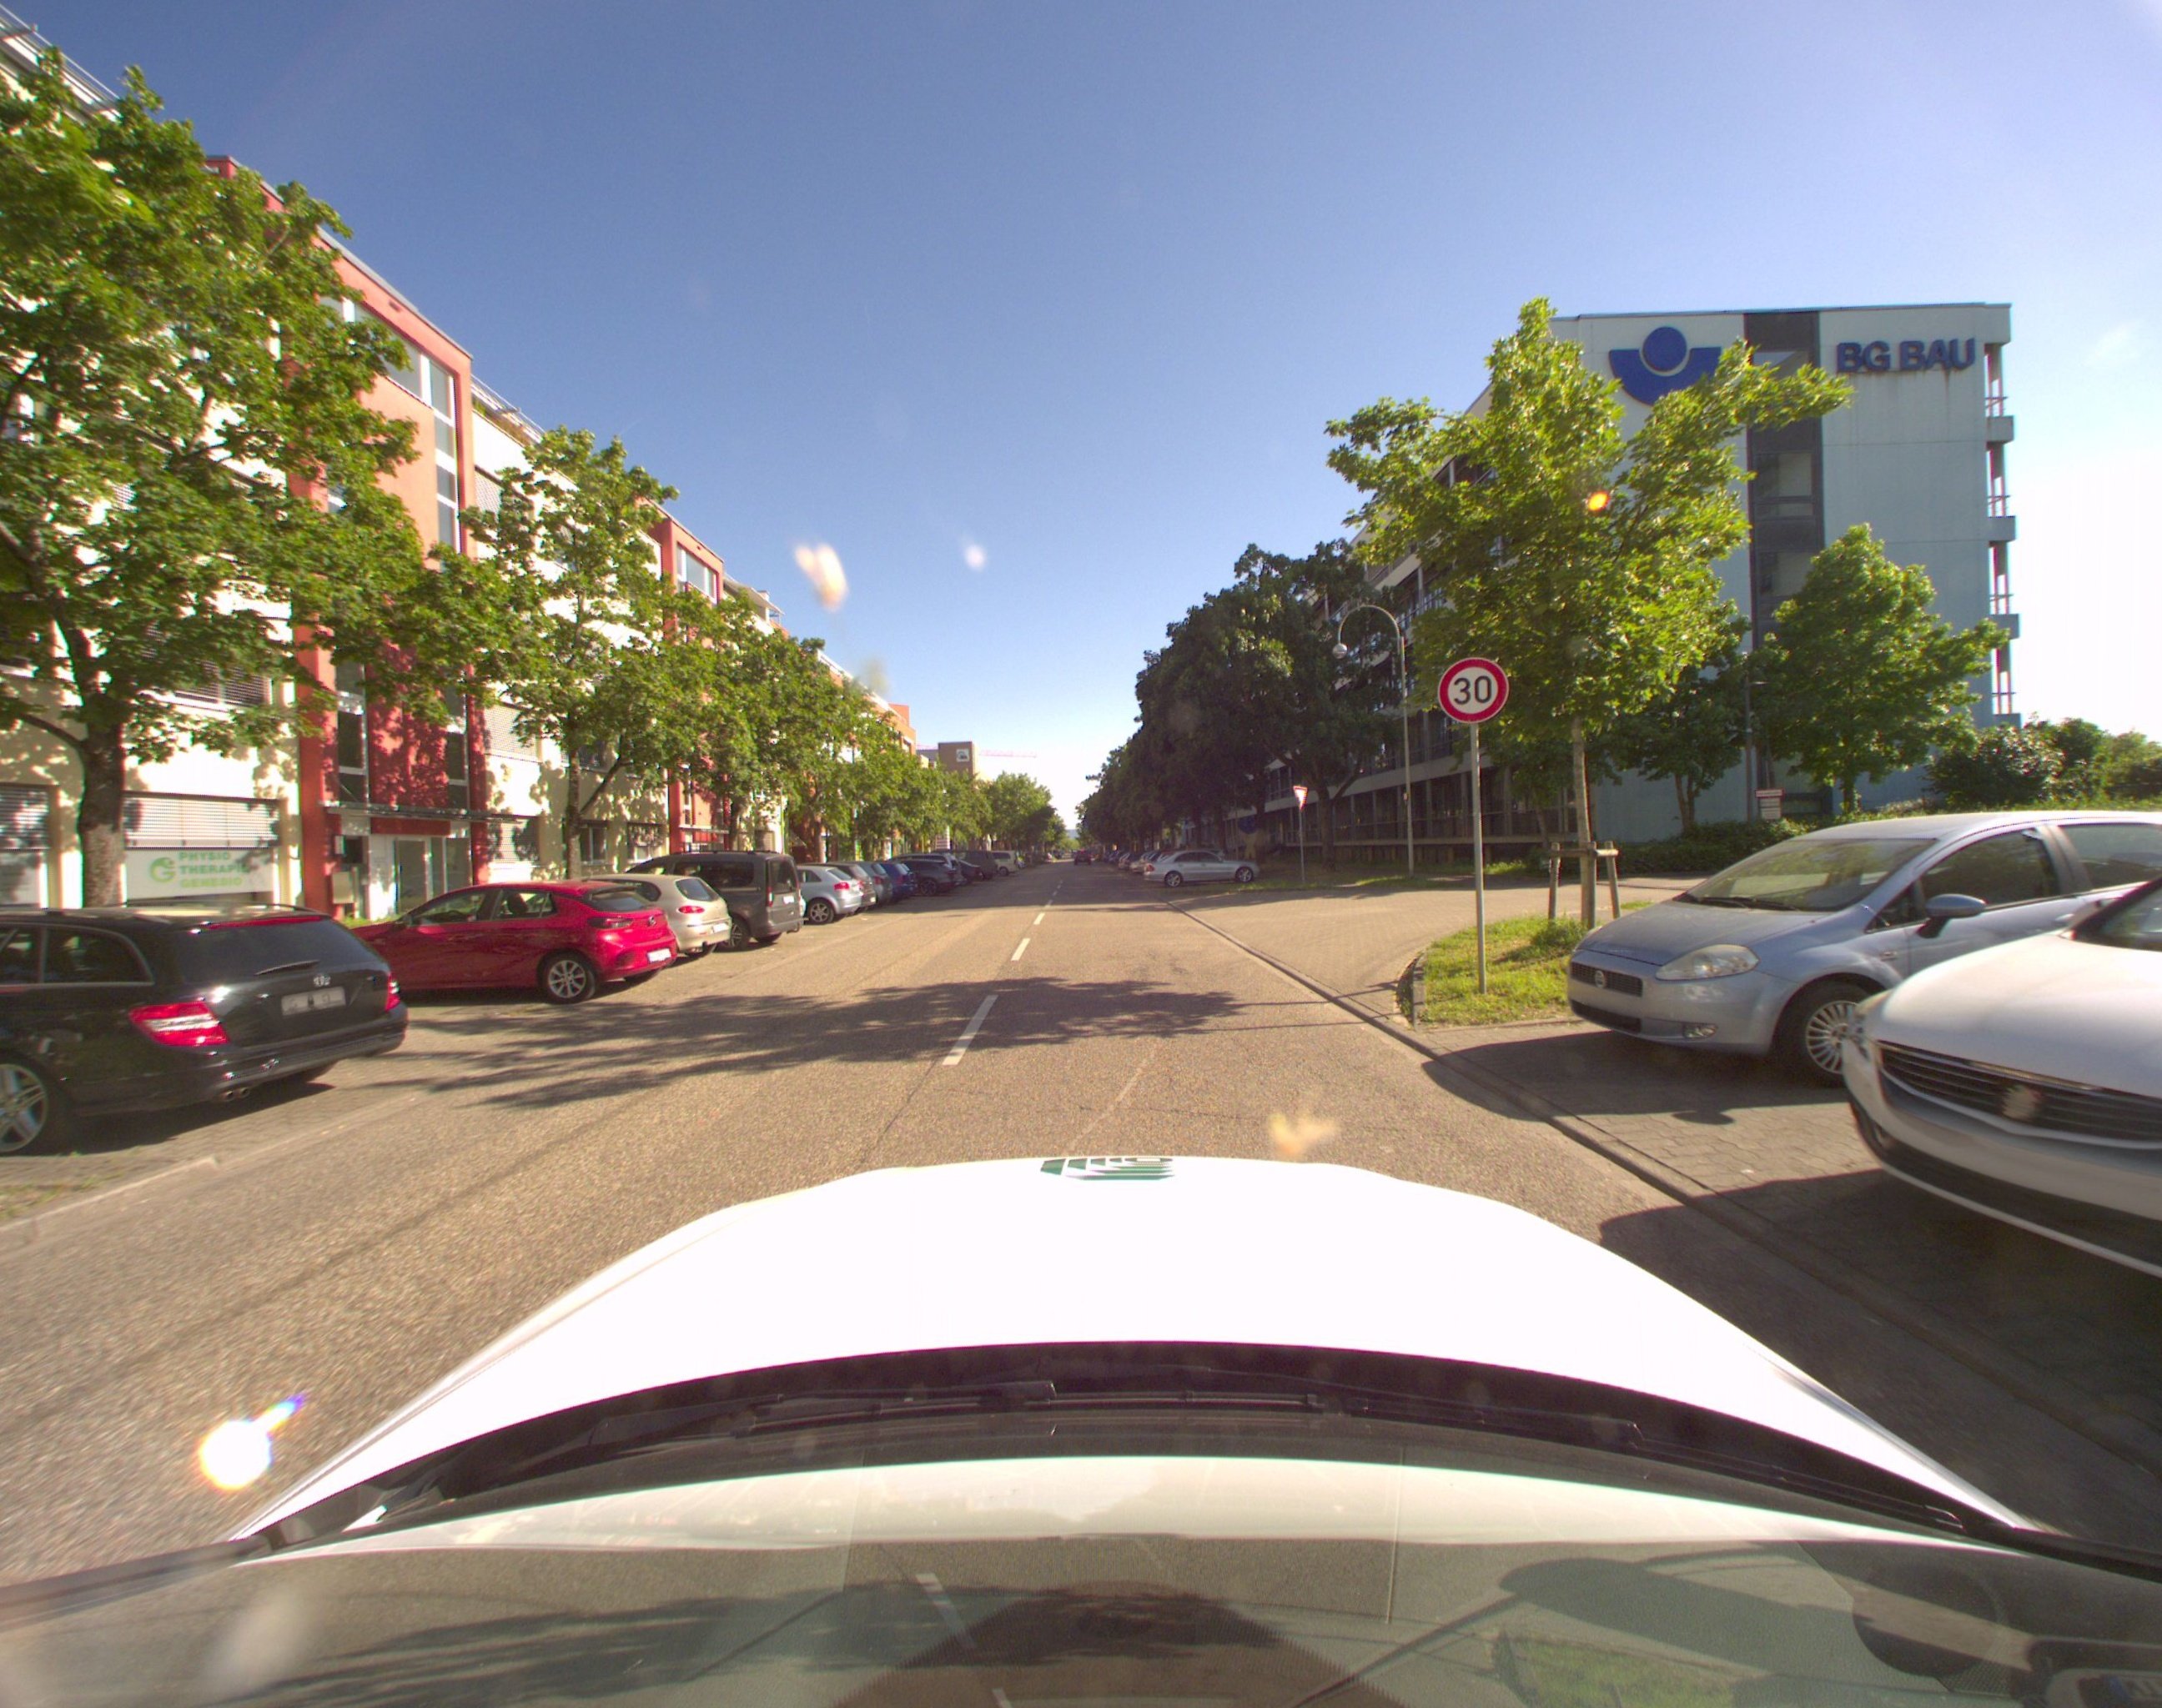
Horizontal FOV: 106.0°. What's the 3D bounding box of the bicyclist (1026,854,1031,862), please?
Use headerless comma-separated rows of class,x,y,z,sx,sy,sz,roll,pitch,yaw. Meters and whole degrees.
bicyclist,-7.305,0.526,112.748,0.530,1.091,0.795,-3,0,3

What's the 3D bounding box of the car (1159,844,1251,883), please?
car,5.450,0.404,36.178,3.821,1.447,1.924,-4,0,3

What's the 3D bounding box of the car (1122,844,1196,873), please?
car,5.063,0.304,53.081,4.577,1.493,1.762,-5,0,-1

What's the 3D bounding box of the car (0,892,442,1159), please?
car,-7.172,1.033,5.591,4.244,1.423,1.741,-1,0,3

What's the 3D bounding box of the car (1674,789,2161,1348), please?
car,5.160,0.447,3.050,4.544,1.515,1.978,-5,-1,-6

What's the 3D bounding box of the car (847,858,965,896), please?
car,-7.028,0.924,32.990,4.391,1.427,1.771,-1,0,-3

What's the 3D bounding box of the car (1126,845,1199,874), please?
car,5.030,0.320,50.604,4.273,1.493,2.003,-4,0,-2

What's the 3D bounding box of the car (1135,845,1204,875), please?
car,5.208,0.352,48.198,3.736,1.493,1.614,-4,0,-5

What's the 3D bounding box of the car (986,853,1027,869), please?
car,-7.516,0.730,82.734,3.976,1.486,1.806,-1,0,-2

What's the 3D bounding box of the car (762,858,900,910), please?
car,-7.742,0.903,25.475,3.715,1.508,1.859,-1,0,-1

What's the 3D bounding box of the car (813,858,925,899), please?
car,-7.896,0.900,30.603,3.715,1.427,1.772,-1,0,-1

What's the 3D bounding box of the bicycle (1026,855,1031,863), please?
bicycle,-7.295,0.734,112.773,0.530,1.072,1.301,-3,0,3

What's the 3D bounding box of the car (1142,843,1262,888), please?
car,4.885,0.446,33.229,4.563,1.475,1.747,-4,0,0

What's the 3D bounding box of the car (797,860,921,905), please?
car,-7.493,0.953,27.792,3.715,1.427,1.840,-1,0,-1

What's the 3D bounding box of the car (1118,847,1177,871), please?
car,4.756,0.325,58.502,3.960,1.420,1.709,-4,0,-2

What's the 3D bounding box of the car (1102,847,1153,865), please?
car,4.574,0.200,80.486,4.813,1.420,2.030,-4,0,-2

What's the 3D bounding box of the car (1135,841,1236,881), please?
car,4.867,0.301,38.404,4.496,1.542,1.924,-4,0,3

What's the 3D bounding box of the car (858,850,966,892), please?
car,-7.310,0.717,35.538,4.308,1.717,1.962,-1,0,-1

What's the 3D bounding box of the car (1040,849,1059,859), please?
car,-7.169,0.009,184.849,3.969,2.013,2.002,-3,0,3

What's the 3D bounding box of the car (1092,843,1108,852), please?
car,4.894,-1.631,207.539,3.977,2.013,1.998,-3,0,-2

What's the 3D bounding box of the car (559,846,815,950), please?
car,-7.252,0.774,15.286,3.879,1.811,1.785,-1,0,0

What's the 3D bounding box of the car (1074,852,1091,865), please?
car,0.195,0.532,99.559,1.987,1.640,3.999,-1,0,0

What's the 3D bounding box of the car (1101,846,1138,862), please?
car,4.849,-0.047,103.185,4.342,1.704,1.810,-4,0,-4

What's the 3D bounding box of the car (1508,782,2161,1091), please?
car,5.392,0.433,5.663,3.943,1.515,1.698,-5,-1,-6

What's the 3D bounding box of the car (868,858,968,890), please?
car,-7.520,0.918,37.926,4.308,1.358,1.756,-1,0,-1

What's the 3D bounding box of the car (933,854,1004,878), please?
car,-7.272,0.750,52.973,4.304,1.477,1.944,-1,0,1

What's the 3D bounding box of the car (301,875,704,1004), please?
car,-7.196,1.026,10.444,3.879,1.423,1.739,-1,0,0

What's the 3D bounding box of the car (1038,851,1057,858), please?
car,-6.747,0.107,163.381,3.844,1.473,1.809,-1,0,-7

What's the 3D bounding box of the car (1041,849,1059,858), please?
car,-7.127,-0.155,187.919,3.969,2.013,2.002,-3,0,3

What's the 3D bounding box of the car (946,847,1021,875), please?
car,-7.159,0.516,60.288,5.241,1.967,1.942,-1,0,-1

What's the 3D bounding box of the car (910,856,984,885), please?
car,-6.999,0.856,42.788,3.721,1.427,1.721,-1,0,-6

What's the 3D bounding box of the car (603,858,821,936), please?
car,-7.960,0.897,17.846,3.879,1.574,1.859,-1,0,0

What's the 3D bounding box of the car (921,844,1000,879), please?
car,-7.372,0.460,50.289,4.471,2.090,2.084,-1,0,1

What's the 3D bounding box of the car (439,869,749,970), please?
car,-7.634,0.995,13.049,3.879,1.423,1.739,-1,0,0

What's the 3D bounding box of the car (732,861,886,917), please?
car,-7.561,0.954,22.909,3.719,1.447,1.857,-1,0,-4

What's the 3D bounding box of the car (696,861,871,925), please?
car,-7.391,0.946,20.551,3.719,1.447,1.874,-1,0,-4

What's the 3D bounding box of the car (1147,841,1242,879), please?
car,5.679,0.301,41.121,4.497,1.542,1.923,-4,0,2

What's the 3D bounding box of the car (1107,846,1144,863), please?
car,4.835,0.047,88.828,3.935,1.514,1.813,-4,0,1
